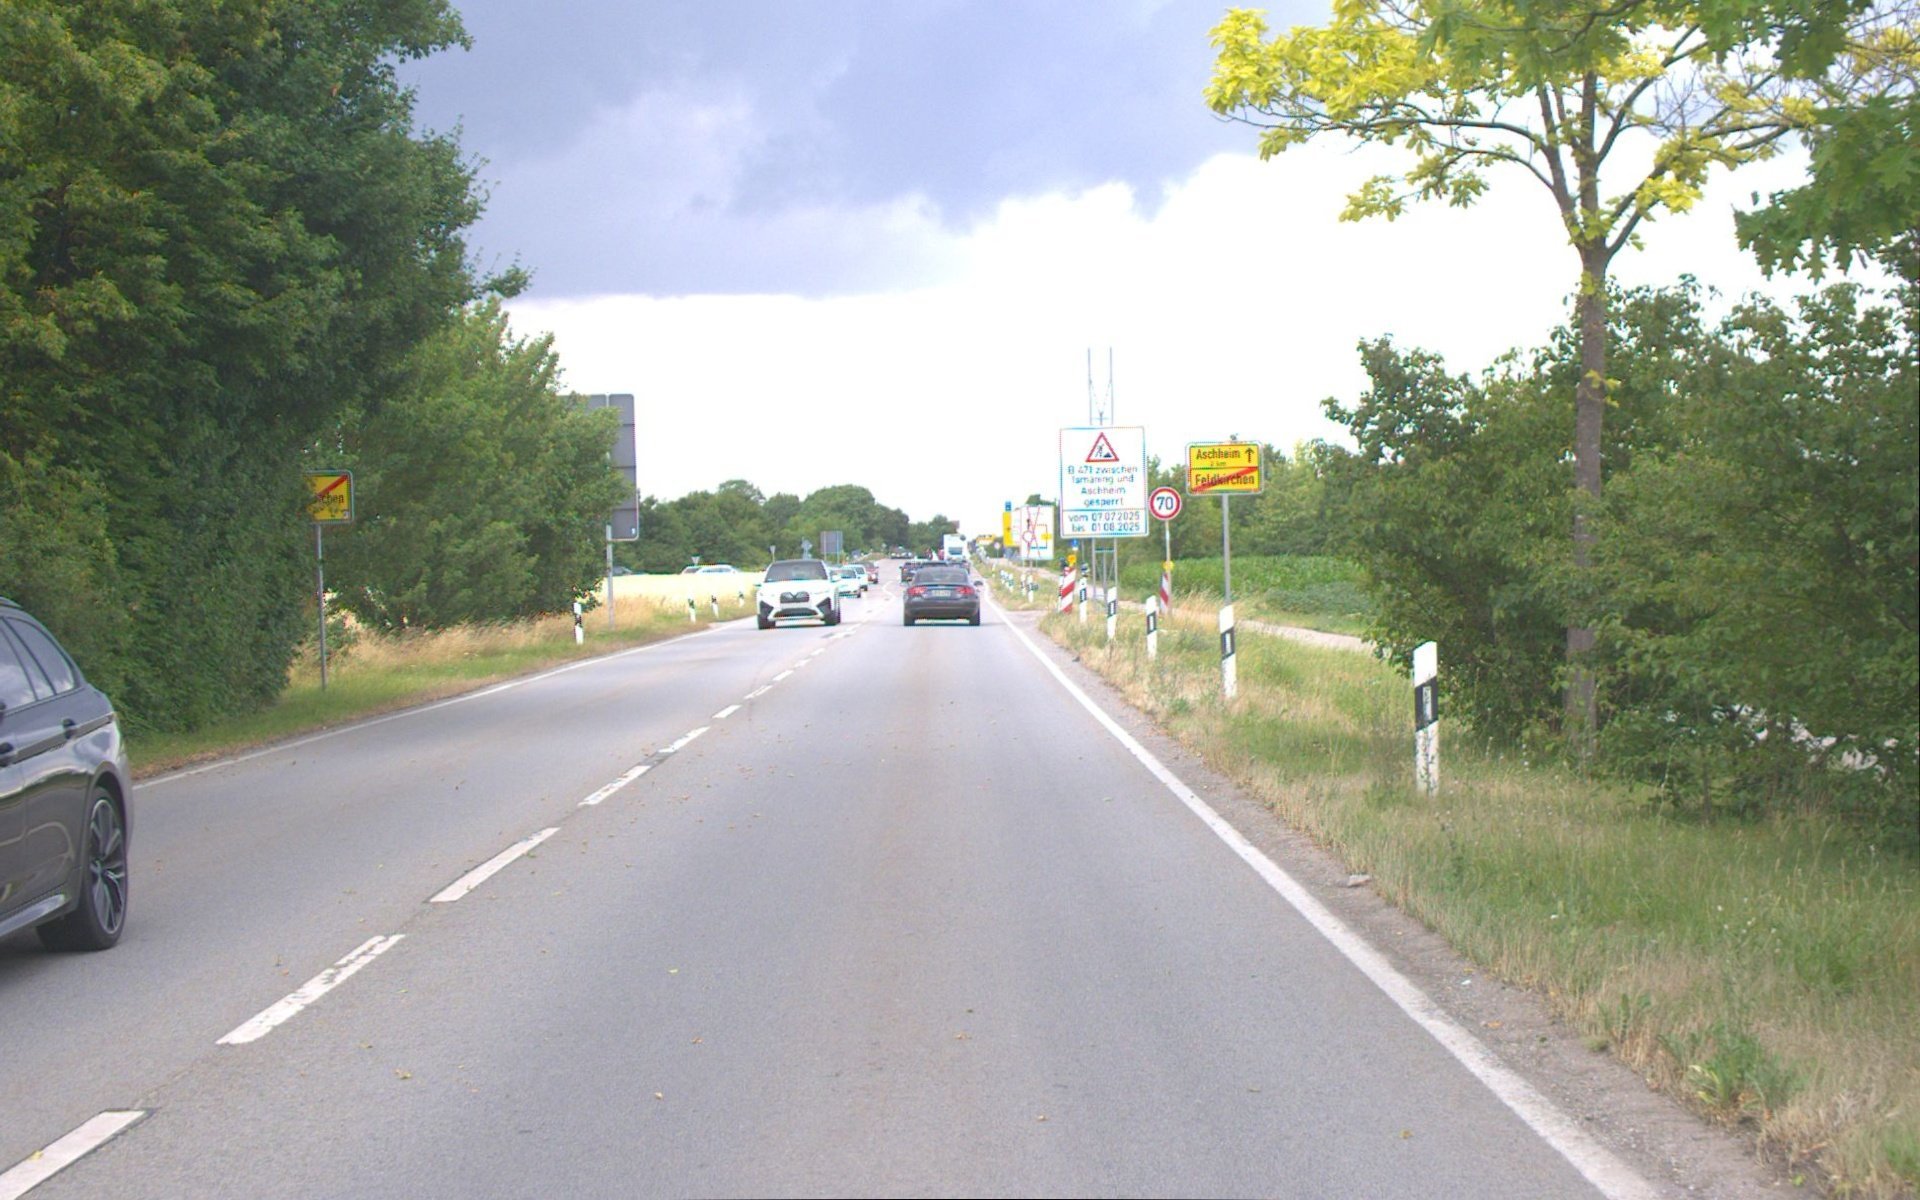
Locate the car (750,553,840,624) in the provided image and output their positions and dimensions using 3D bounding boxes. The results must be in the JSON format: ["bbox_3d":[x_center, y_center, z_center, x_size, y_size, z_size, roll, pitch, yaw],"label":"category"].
[{"bbox_3d":[-4.126,-0.315,86.725,1.993,1.678,4.810,-2,1,0],"label":"car"}]

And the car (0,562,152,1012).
[{"bbox_3d":[-4.388,0.700,12.454,1.940,1.580,4.556,-3,1,-2],"label":"car"}]

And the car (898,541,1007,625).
[{"bbox_3d":[-0.211,-0.414,83.041,2.371,1.874,4.478,-3,1,-2],"label":"car"}]

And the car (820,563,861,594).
[{"bbox_3d":[-5.545,-1.019,159.986,1.728,1.359,3.950,-1,1,0],"label":"car"}]
